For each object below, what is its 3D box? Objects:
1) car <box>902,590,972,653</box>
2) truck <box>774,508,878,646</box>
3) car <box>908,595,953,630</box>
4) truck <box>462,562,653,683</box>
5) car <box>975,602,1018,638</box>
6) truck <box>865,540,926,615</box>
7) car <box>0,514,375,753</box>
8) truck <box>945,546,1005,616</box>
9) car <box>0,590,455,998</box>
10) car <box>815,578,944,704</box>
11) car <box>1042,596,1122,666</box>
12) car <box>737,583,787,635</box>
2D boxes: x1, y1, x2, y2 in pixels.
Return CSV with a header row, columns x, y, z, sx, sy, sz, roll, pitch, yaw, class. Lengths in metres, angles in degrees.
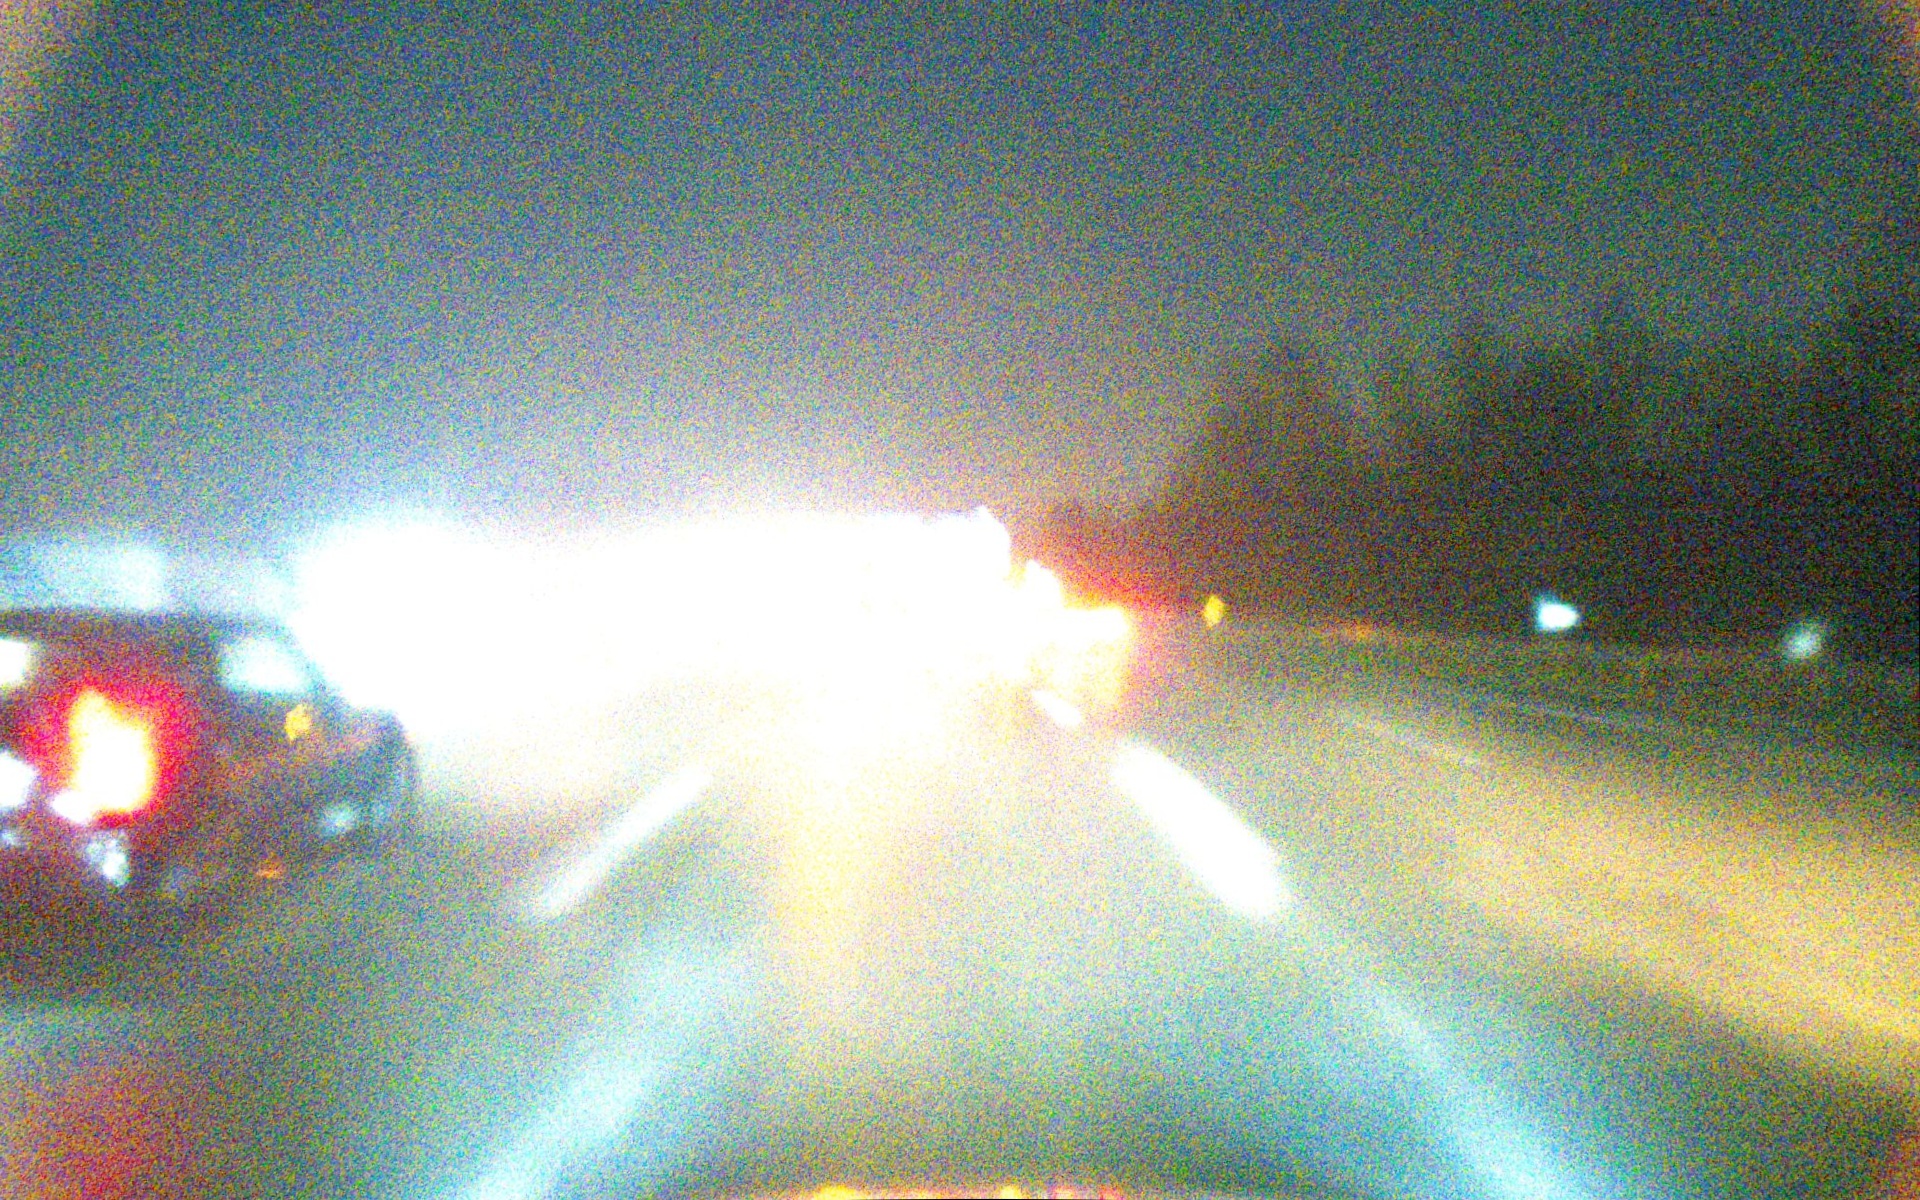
x,y,z,sx,sy,sz,roll,pitch,yaw,class
-0.688,0.629,49.980,1.997,1.792,4.514,1,0,-1,car
-5.143,-0.787,63.371,3.585,4.820,9.842,1,0,-5,truck
-1.817,0.790,104.297,2.775,2.049,5.509,1,0,0,car
-8.185,0.450,34.377,2.800,2.239,5.854,1,0,-3,truck
1.787,0.974,82.380,1.953,1.733,4.457,1,0,-1,car
-4.975,-1.640,129.884,4.166,5.539,10.884,1,0,1,truck
-8.264,0.298,17.719,2.080,2.141,5.627,1,0,-1,car
1.151,-1.454,133.185,4.079,5.306,9.946,1,0,-3,truck
-3.843,0.695,8.116,1.623,1.456,4.244,1,1,-3,car
-1.127,0.550,24.781,1.729,1.719,4.000,1,0,0,car
3.295,0.834,45.303,1.839,1.793,4.000,1,0,0,car
-9.333,0.421,77.967,2.220,2.313,5.377,1,0,-7,car
